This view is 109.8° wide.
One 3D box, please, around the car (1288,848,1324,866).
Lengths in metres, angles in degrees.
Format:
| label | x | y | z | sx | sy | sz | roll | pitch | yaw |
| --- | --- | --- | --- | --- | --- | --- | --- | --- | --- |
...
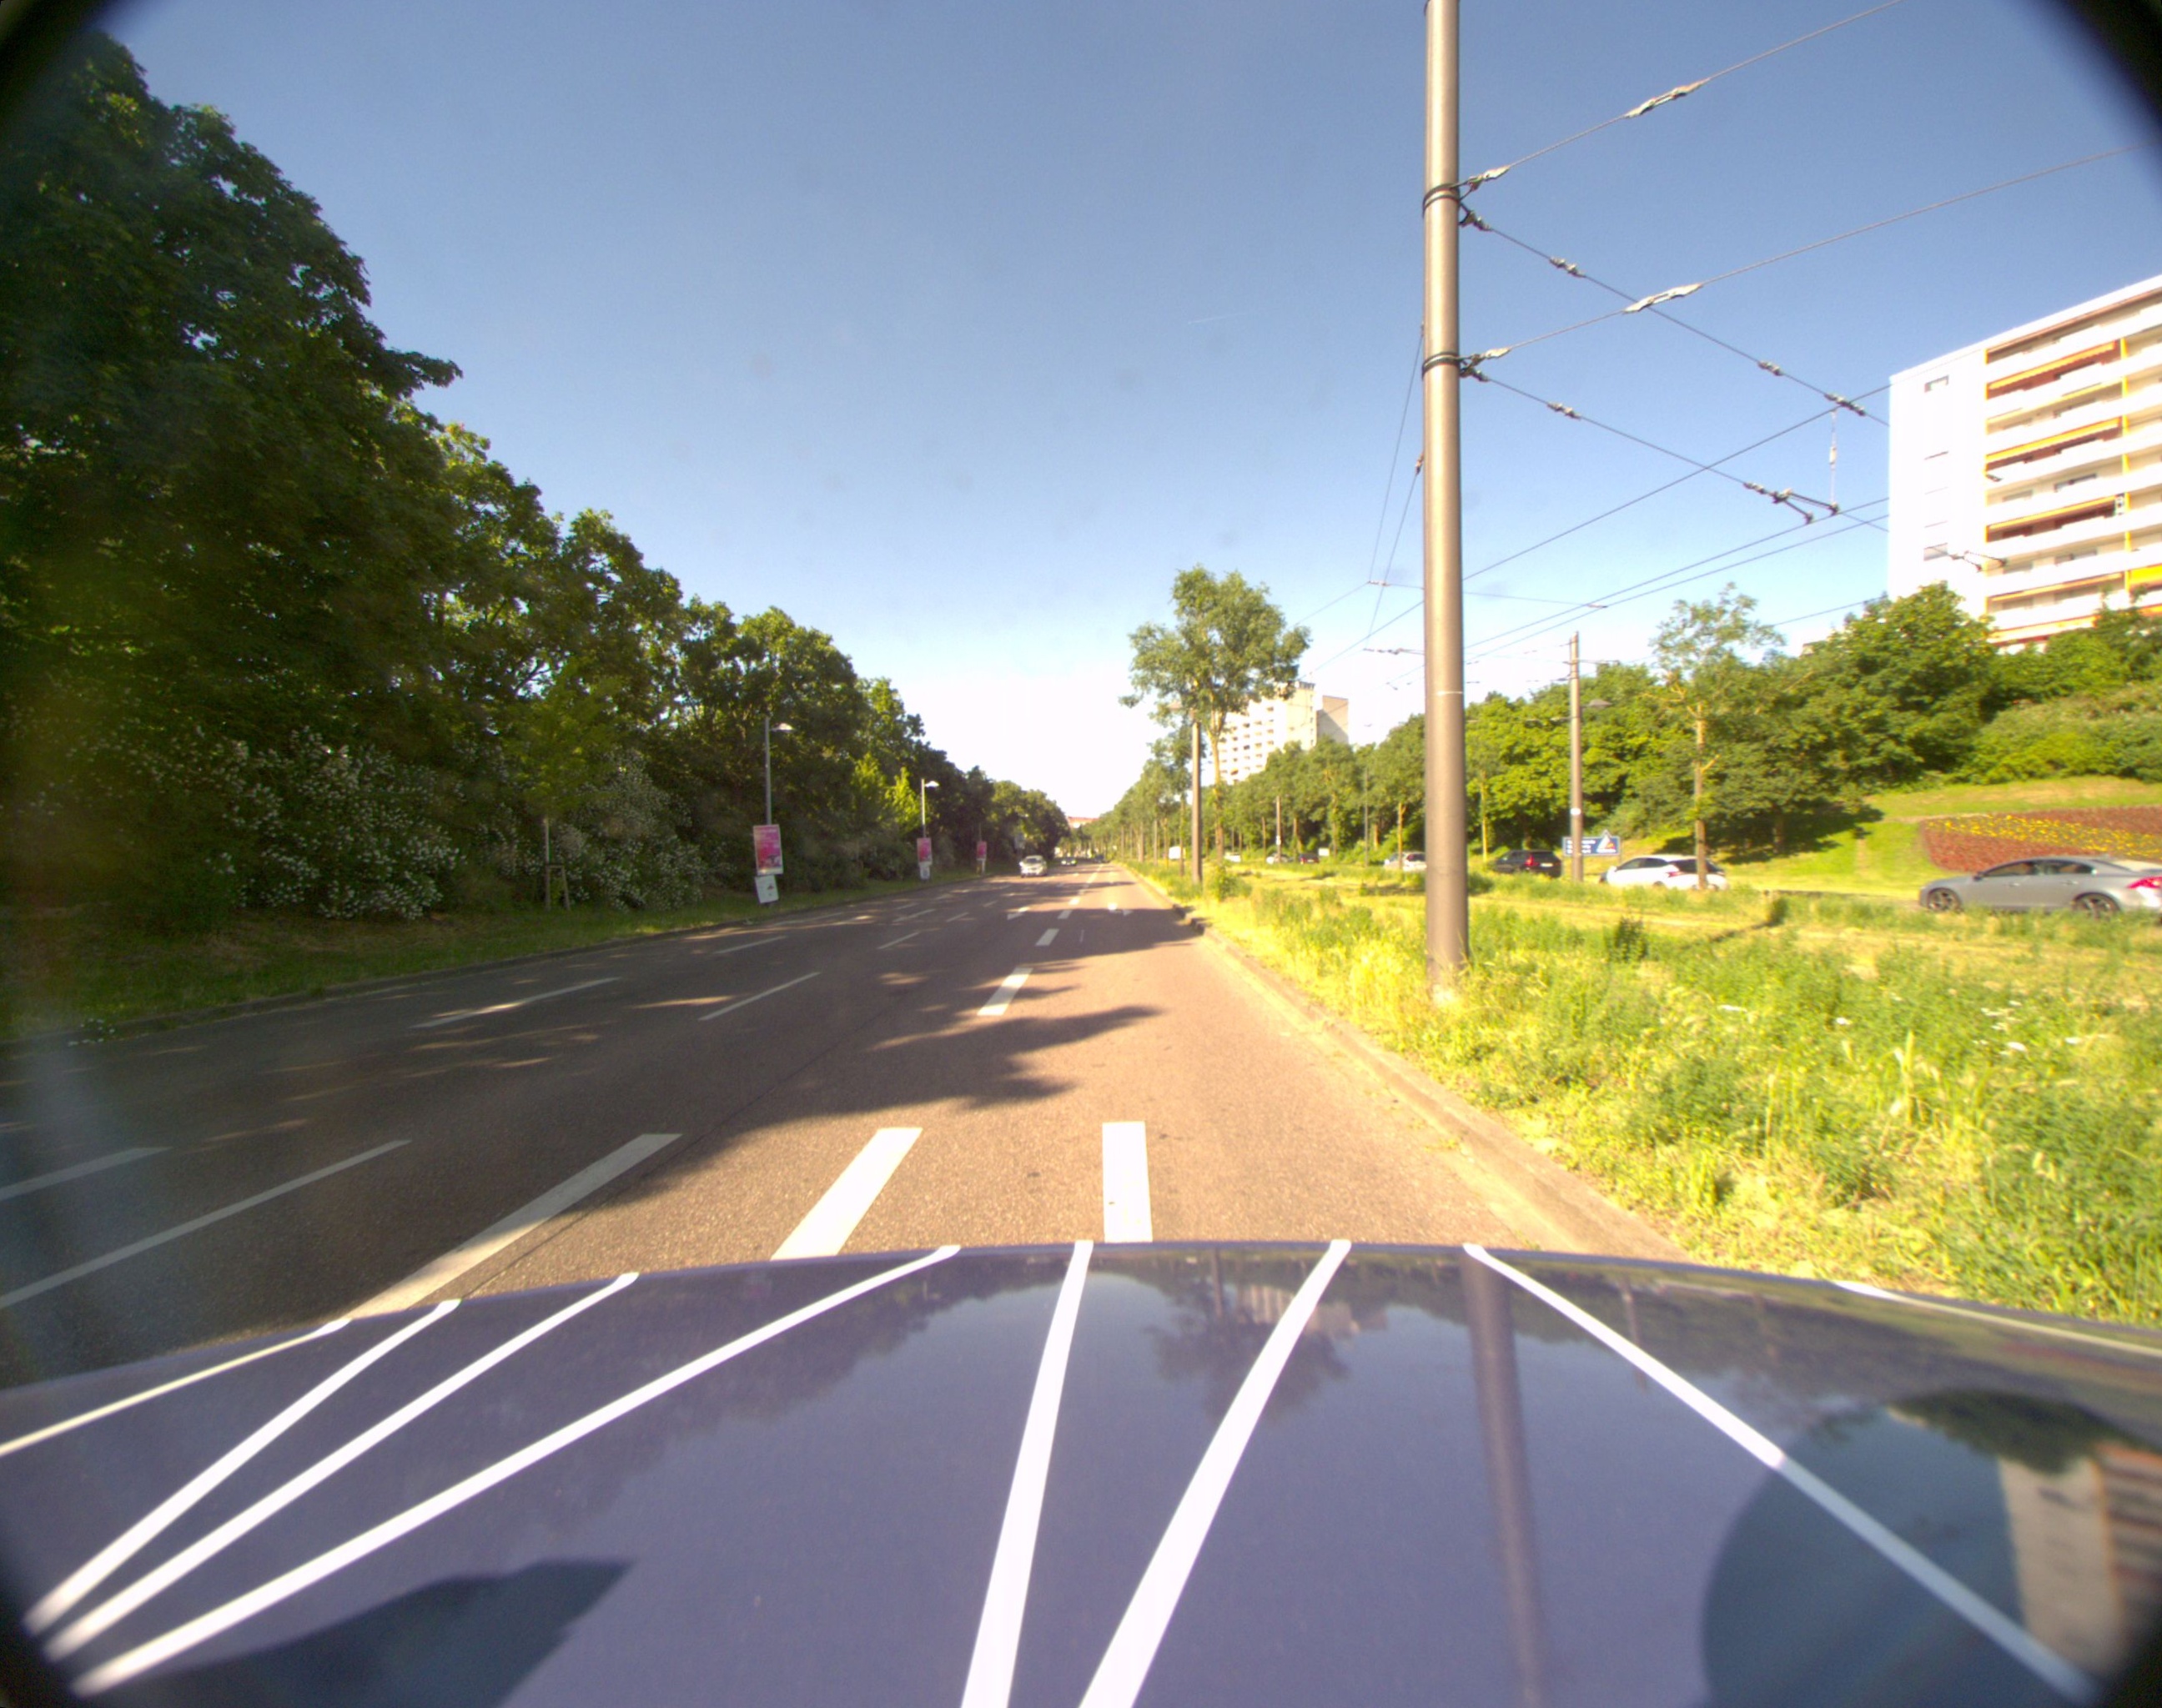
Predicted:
| label | x | y | z | sx | sy | sz | roll | pitch | yaw |
| --- | --- | --- | --- | --- | --- | --- | --- | --- | --- |
| car | 19.888 | 0.238 | 67.406 | 1.998 | 1.401 | 4.991 | -2 | 1 | 4 |

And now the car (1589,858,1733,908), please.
| label | x | y | z | sx | sy | sz | roll | pitch | yaw |
| --- | --- | --- | --- | --- | --- | --- | --- | --- | --- |
| car | 18.459 | 0.887 | 24.437 | 1.592 | 1.464 | 4.184 | 1 | -1 | 3 |

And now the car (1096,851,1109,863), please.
| label | x | y | z | sx | sy | sz | roll | pitch | yaw |
| --- | --- | --- | --- | --- | --- | --- | --- | --- | --- |
| car | 3.339 | 0.455 | 118.918 | 1.998 | 1.696 | 4.000 | -2 | 1 | 1 |

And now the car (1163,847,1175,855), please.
| label | x | y | z | sx | sy | sz | roll | pitch | yaw |
| --- | --- | --- | --- | --- | --- | --- | --- | --- | --- |
| car | 18.898 | -0.705 | 163.781 | 1.998 | 1.575 | 5.273 | -2 | 1 | 2 |

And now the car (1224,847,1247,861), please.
| label | x | y | z | sx | sy | sz | roll | pitch | yaw |
| --- | --- | --- | --- | --- | --- | --- | --- | --- | --- |
| car | 19.810 | -0.042 | 97.505 | 1.899 | 1.612 | 4.656 | -2 | 1 | 0 |

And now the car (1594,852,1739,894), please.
| label | x | y | z | sx | sy | sz | roll | pitch | yaw |
| --- | --- | --- | --- | --- | --- | --- | --- | --- | --- |
| car | 22.069 | 0.676 | 28.940 | 1.998 | 1.424 | 4.693 | 0 | 1 | 2 |

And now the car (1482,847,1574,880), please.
| label | x | y | z | sx | sy | sz | roll | pitch | yaw |
| --- | --- | --- | --- | --- | --- | --- | --- | --- | --- |
| car | 22.220 | 0.428 | 38.004 | 1.998 | 1.472 | 4.631 | -2 | 1 | 2 |

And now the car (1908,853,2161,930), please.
| label | x | y | z | sx | sy | sz | roll | pitch | yaw |
| --- | --- | --- | --- | --- | --- | --- | --- | --- | --- |
| car | 21.586 | 0.720 | 16.763 | 1.998 | 1.366 | 4.400 | -2 | 1 | 3 |

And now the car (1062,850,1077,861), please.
| label | x | y | z | sx | sy | sz | roll | pitch | yaw |
| --- | --- | --- | --- | --- | --- | --- | --- | --- | --- |
| car | -1.563 | 0.213 | 104.142 | 1.831 | 1.400 | 4.216 | -1 | 0 | 1 |

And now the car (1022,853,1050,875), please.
| label | x | y | z | sx | sy | sz | roll | pitch | yaw |
| --- | --- | --- | --- | --- | --- | --- | --- | --- | --- |
| car | -3.446 | 0.722 | 59.093 | 1.672 | 1.531 | 4.060 | -4 | 0 | 3 |

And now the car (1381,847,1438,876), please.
| label | x | y | z | sx | sy | sz | roll | pitch | yaw |
| --- | --- | --- | --- | --- | --- | --- | --- | --- | --- |
| car | 18.845 | 0.387 | 43.747 | 1.767 | 1.599 | 3.758 | 0 | 1 | 2 |

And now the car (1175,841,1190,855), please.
| label | x | y | z | sx | sy | sz | roll | pitch | yaw |
| --- | --- | --- | --- | --- | --- | --- | --- | --- | --- |
| car | 18.533 | -1.057 | 139.090 | 2.044 | 2.355 | 6.880 | -2 | 1 | 2 |

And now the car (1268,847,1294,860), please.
| label | x | y | z | sx | sy | sz | roll | pitch | yaw |
| --- | --- | --- | --- | --- | --- | --- | --- | --- | --- |
| car | 22.870 | -0.043 | 87.140 | 1.904 | 1.390 | 4.543 | -2 | 1 | 2 |
